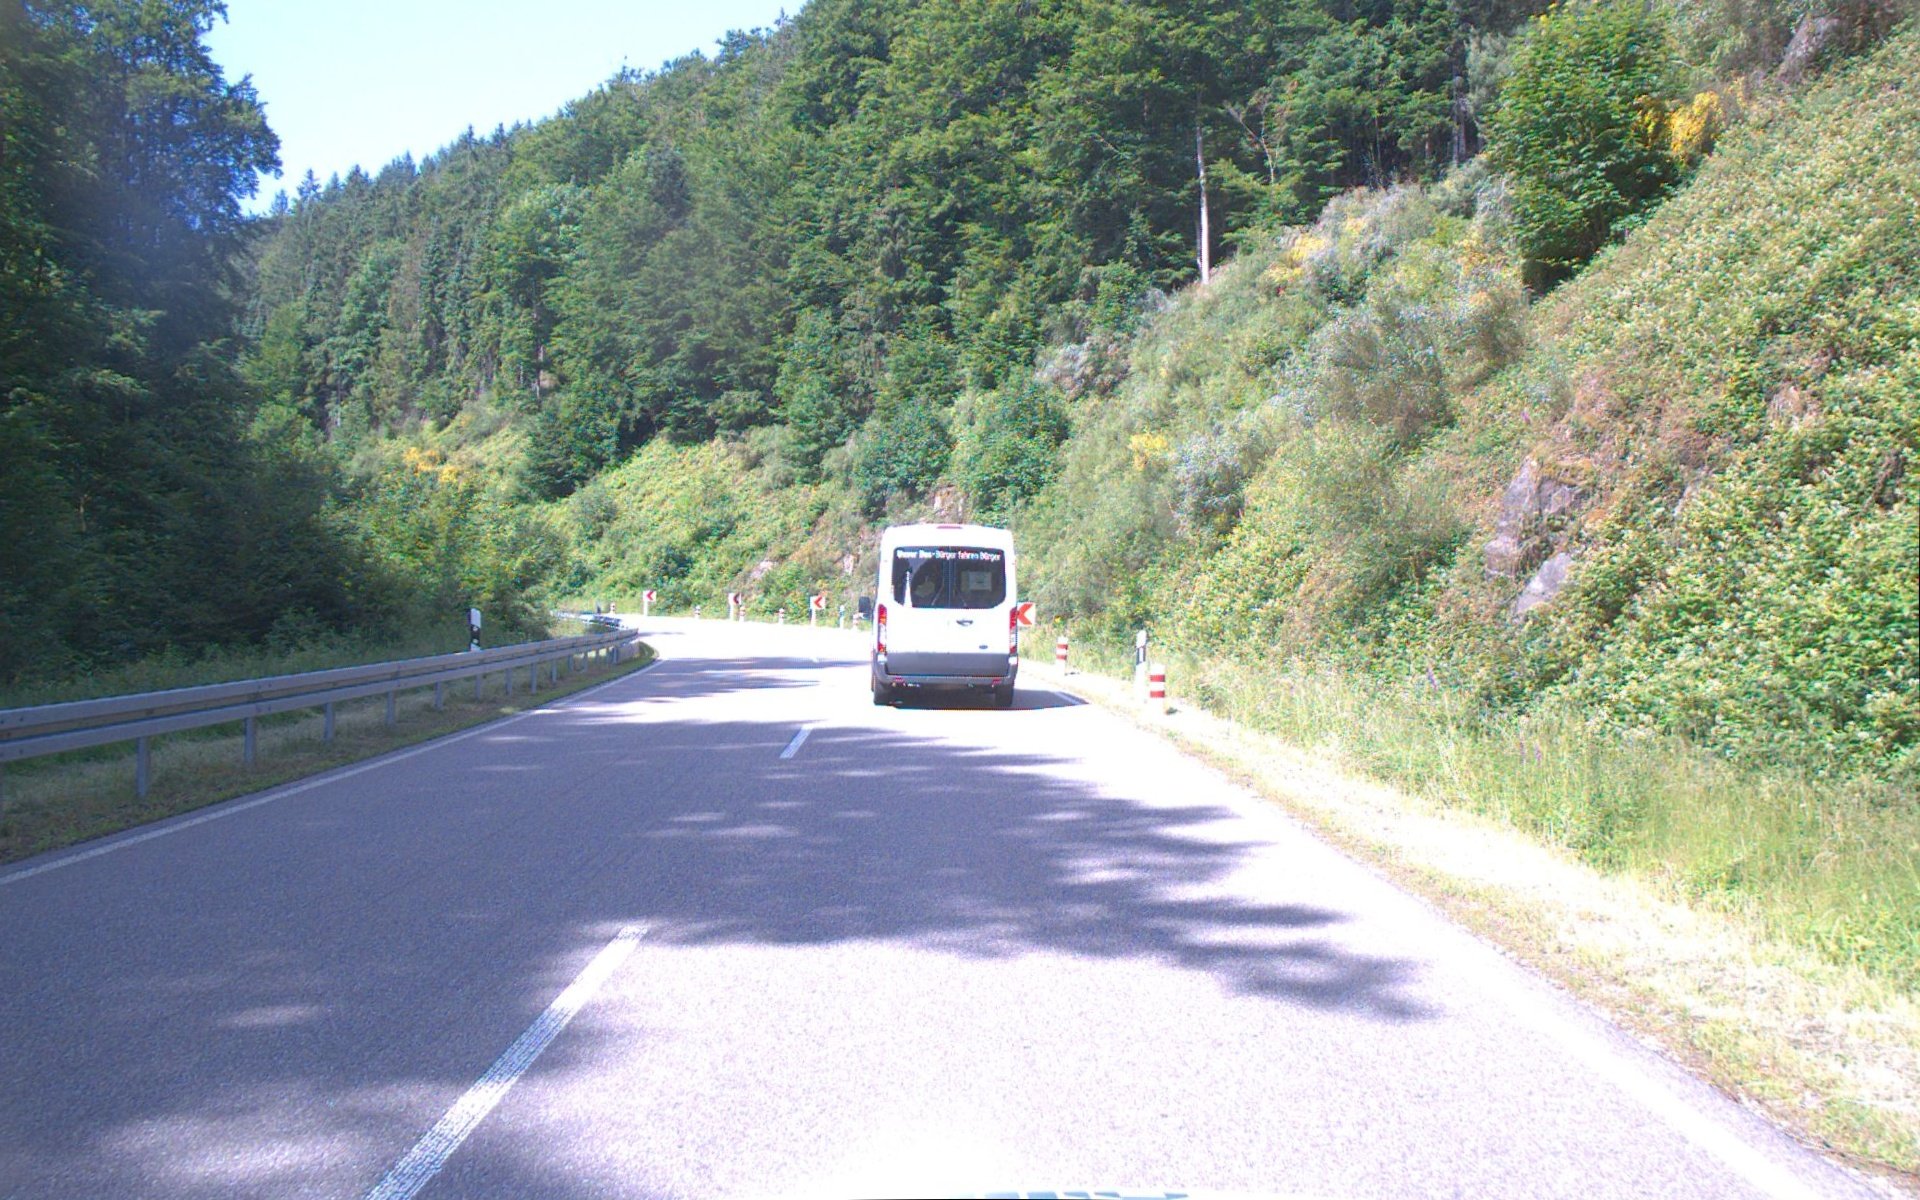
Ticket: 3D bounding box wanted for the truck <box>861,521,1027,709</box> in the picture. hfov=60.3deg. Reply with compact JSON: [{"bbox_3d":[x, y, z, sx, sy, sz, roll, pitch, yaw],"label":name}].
[{"bbox_3d":[-0.353,0.205,24.473,2.043,2.503,4.869,0,0,-5],"label":"truck"}]
